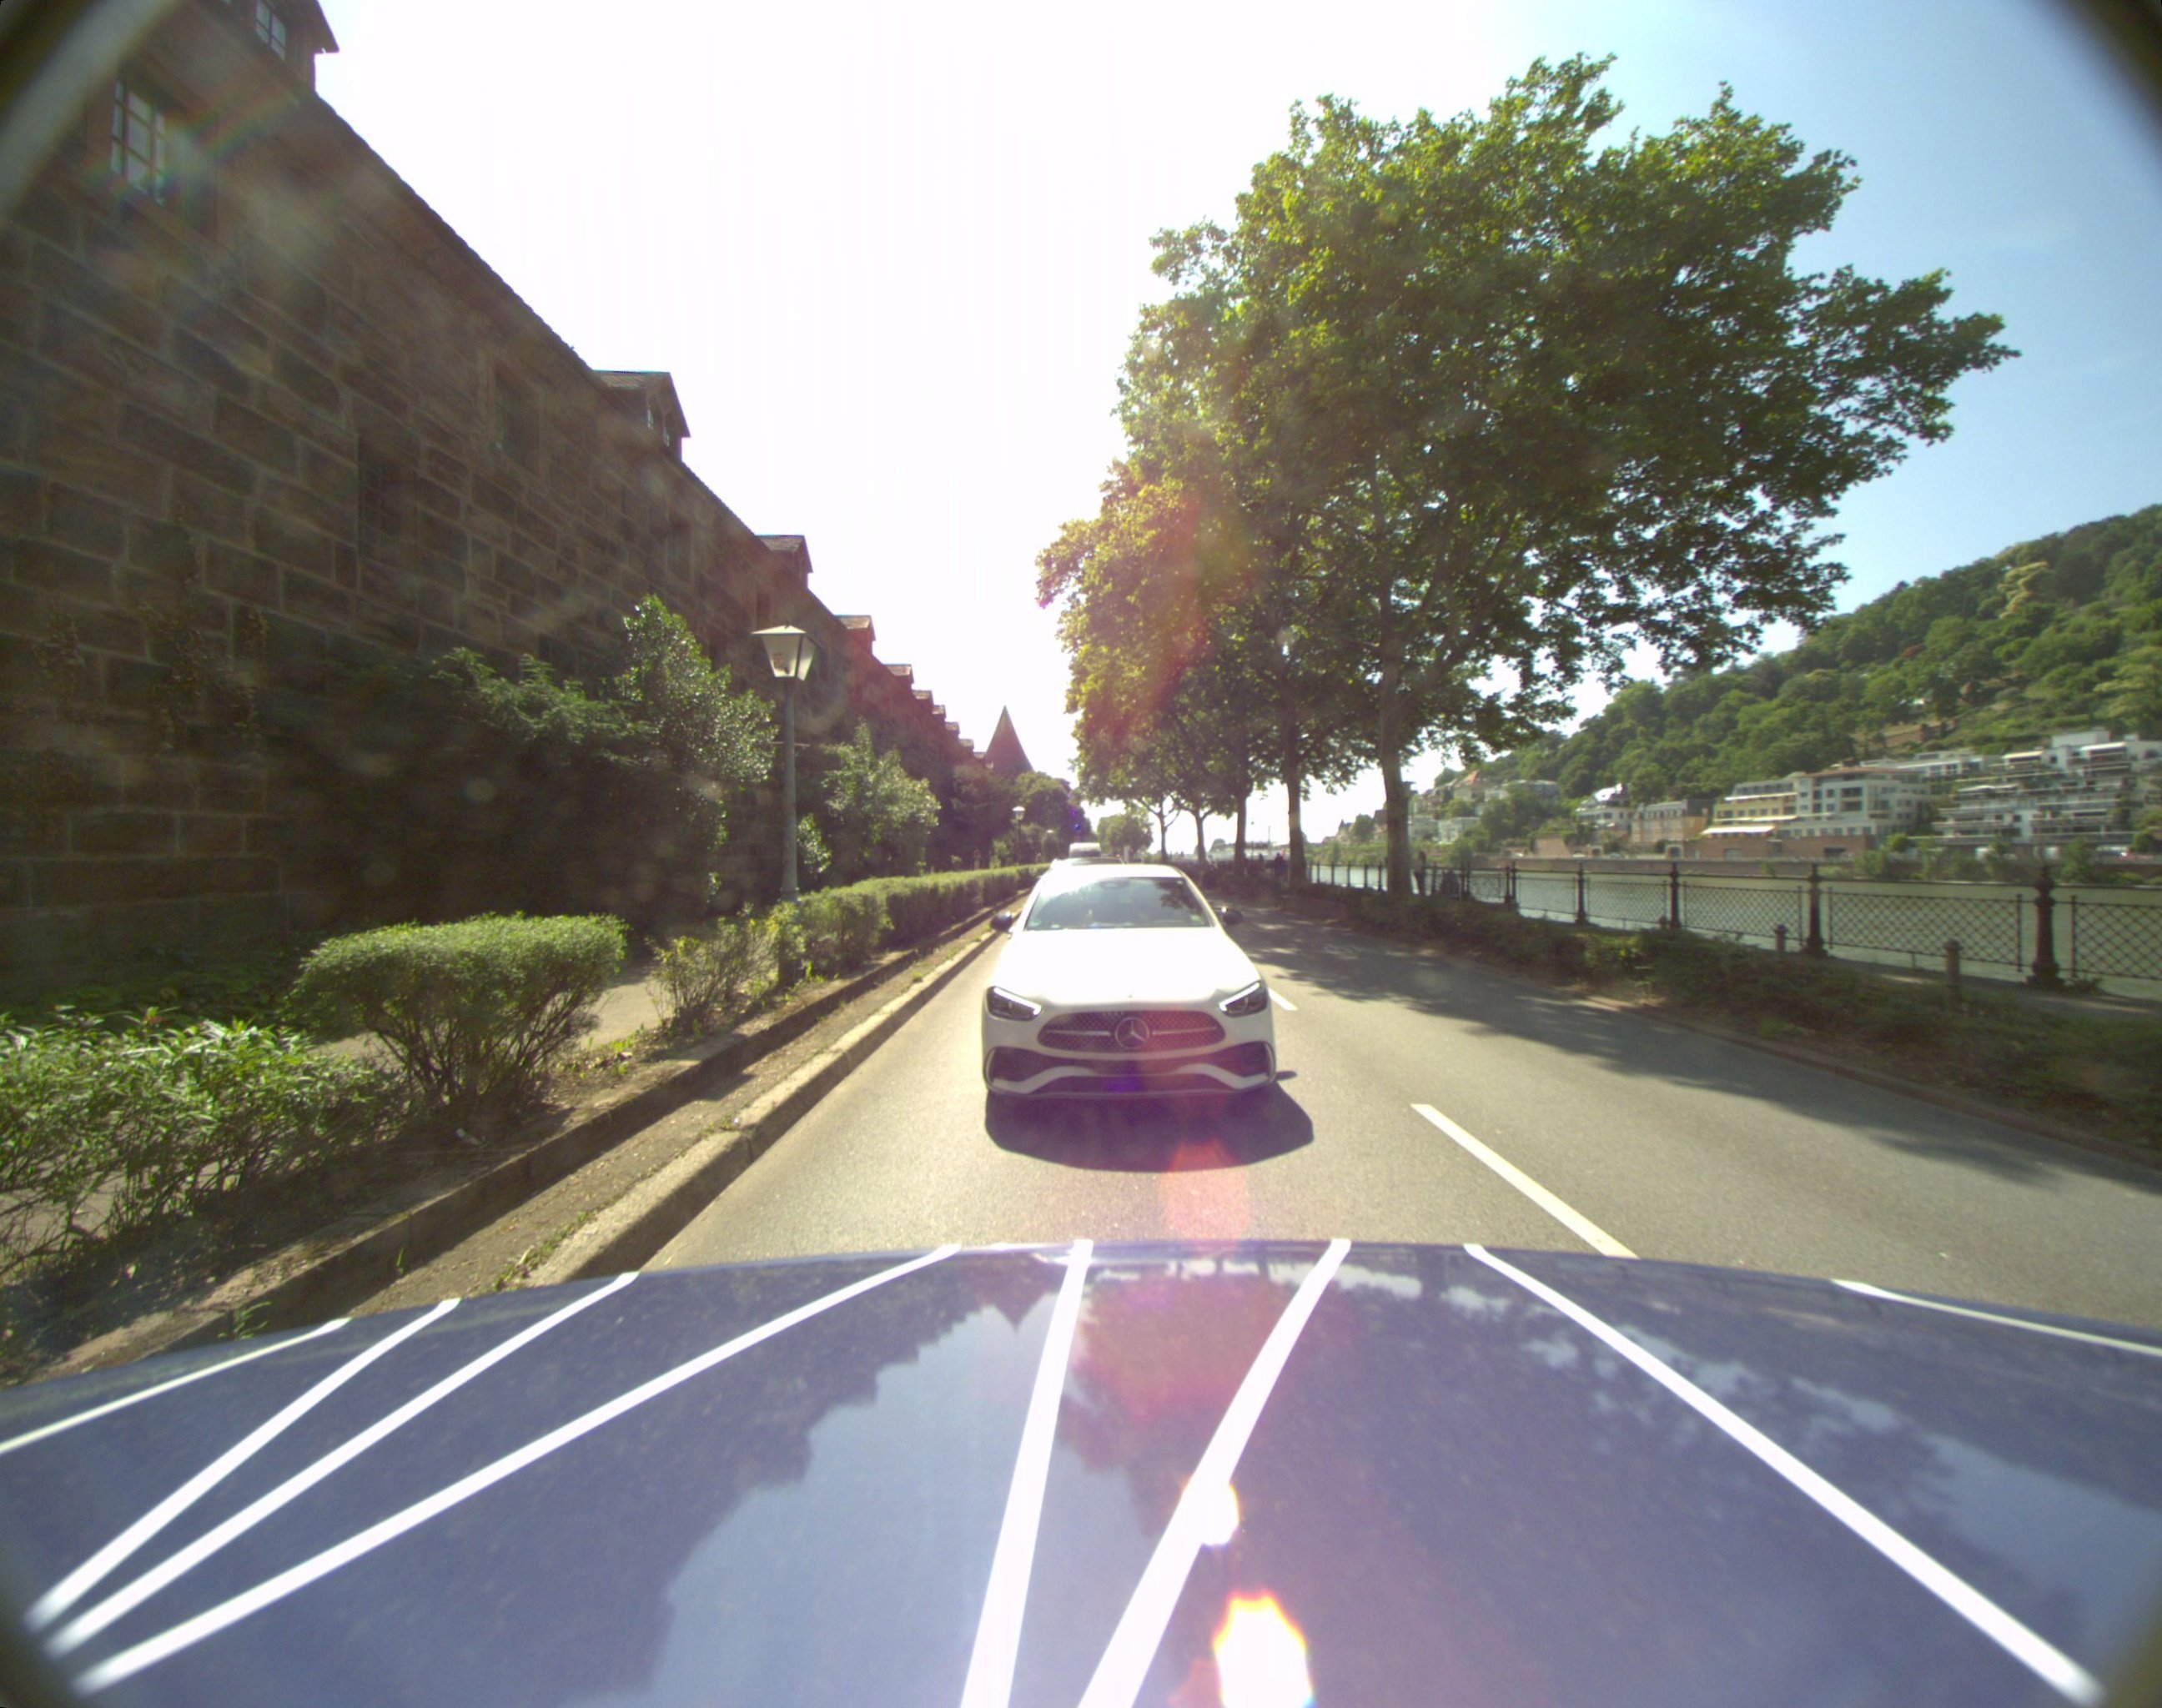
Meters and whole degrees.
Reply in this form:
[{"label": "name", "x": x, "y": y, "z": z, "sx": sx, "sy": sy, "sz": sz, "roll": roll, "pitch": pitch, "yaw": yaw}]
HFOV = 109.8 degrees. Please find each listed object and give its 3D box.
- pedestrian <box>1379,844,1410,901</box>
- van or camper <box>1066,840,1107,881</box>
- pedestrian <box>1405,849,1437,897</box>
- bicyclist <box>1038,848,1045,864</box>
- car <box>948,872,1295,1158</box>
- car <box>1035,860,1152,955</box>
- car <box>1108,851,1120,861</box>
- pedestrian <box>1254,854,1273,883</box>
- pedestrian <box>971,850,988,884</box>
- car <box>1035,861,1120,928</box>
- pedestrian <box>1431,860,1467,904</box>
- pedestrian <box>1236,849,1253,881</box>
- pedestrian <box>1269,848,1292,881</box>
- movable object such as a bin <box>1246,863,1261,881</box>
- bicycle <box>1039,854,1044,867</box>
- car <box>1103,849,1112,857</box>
[{"label": "pedestrian", "x": 10.599, "y": 0.605, "z": 25.697, "sx": 0.767, "sy": 1.889, "sz": 0.771, "roll": 1, "pitch": 1, "yaw": 8}, {"label": "van or camper", "x": 0.321, "y": 0.395, "z": 46.688, "sx": 2.313, "sy": 2.358, "sz": 5.035, "roll": 1, "pitch": 0, "yaw": 0}, {"label": "pedestrian", "x": 12.801, "y": 0.710, "z": 28.622, "sx": 0.777, "sy": 1.748, "sz": 0.830, "roll": 1, "pitch": 1, "yaw": 0}, {"label": "bicyclist", "x": -3.814, "y": 0.218, "z": 73.677, "sx": 0.550, "sy": 1.513, "sz": 0.583, "roll": -2, "pitch": 1, "yaw": -1}, {"label": "car", "x": 0.247, "y": 0.929, "z": 6.260, "sx": 1.833, "sy": 1.395, "sz": 4.270, "roll": -2, "pitch": 0, "yaw": 1}, {"label": "car", "x": 0.228, "y": 0.874, "z": 14.314, "sx": 1.833, "sy": 1.428, "sz": 4.270, "roll": -2, "pitch": 0, "yaw": 1}, {"label": "car", "x": 6.515, "y": 0.367, "z": 150.654, "sx": 2.165, "sy": 2.002, "sz": 4.000, "roll": -2, "pitch": 1, "yaw": 1}, {"label": "pedestrian", "x": 10.934, "y": 0.865, "z": 45.513, "sx": 0.897, "sy": 1.625, "sz": 1.059, "roll": -2, "pitch": 1, "yaw": 6}, {"label": "pedestrian", "x": -4.673, "y": 0.598, "z": 35.027, "sx": 0.643, "sy": 1.555, "sz": 0.563, "roll": -2, "pitch": 1, "yaw": 1}, {"label": "car", "x": -0.046, "y": 0.915, "z": 19.073, "sx": 1.833, "sy": 1.395, "sz": 4.424, "roll": -2, "pitch": 0, "yaw": 1}, {"label": "pedestrian", "x": 11.932, "y": 0.903, "z": 24.667, "sx": 0.768, "sy": 1.379, "sz": 0.770, "roll": 1, "pitch": 0, "yaw": 0}, {"label": "pedestrian", "x": 9.718, "y": 0.623, "z": 45.208, "sx": 0.806, "sy": 1.839, "sz": 0.929, "roll": -2, "pitch": 1, "yaw": 1}, {"label": "pedestrian", "x": 12.303, "y": 0.647, "z": 46.907, "sx": 1.047, "sy": 2.002, "sz": 1.036, "roll": -1, "pitch": 1, "yaw": 31}, {"label": "movable object such as a bin", "x": 10.555, "y": 1.077, "z": 46.509, "sx": 0.703, "sy": 1.043, "sz": 0.783, "roll": -2, "pitch": 1, "yaw": 4}, {"label": "bicycle", "x": -3.805, "y": 0.613, "z": 73.567, "sx": 0.406, "sy": 1.169, "sz": 1.576, "roll": -2, "pitch": 1, "yaw": -2}, {"label": "car", "x": 6.998, "y": -0.195, "z": 201.047, "sx": 2.165, "sy": 2.002, "sz": 4.000, "roll": -2, "pitch": 1, "yaw": 1}]
